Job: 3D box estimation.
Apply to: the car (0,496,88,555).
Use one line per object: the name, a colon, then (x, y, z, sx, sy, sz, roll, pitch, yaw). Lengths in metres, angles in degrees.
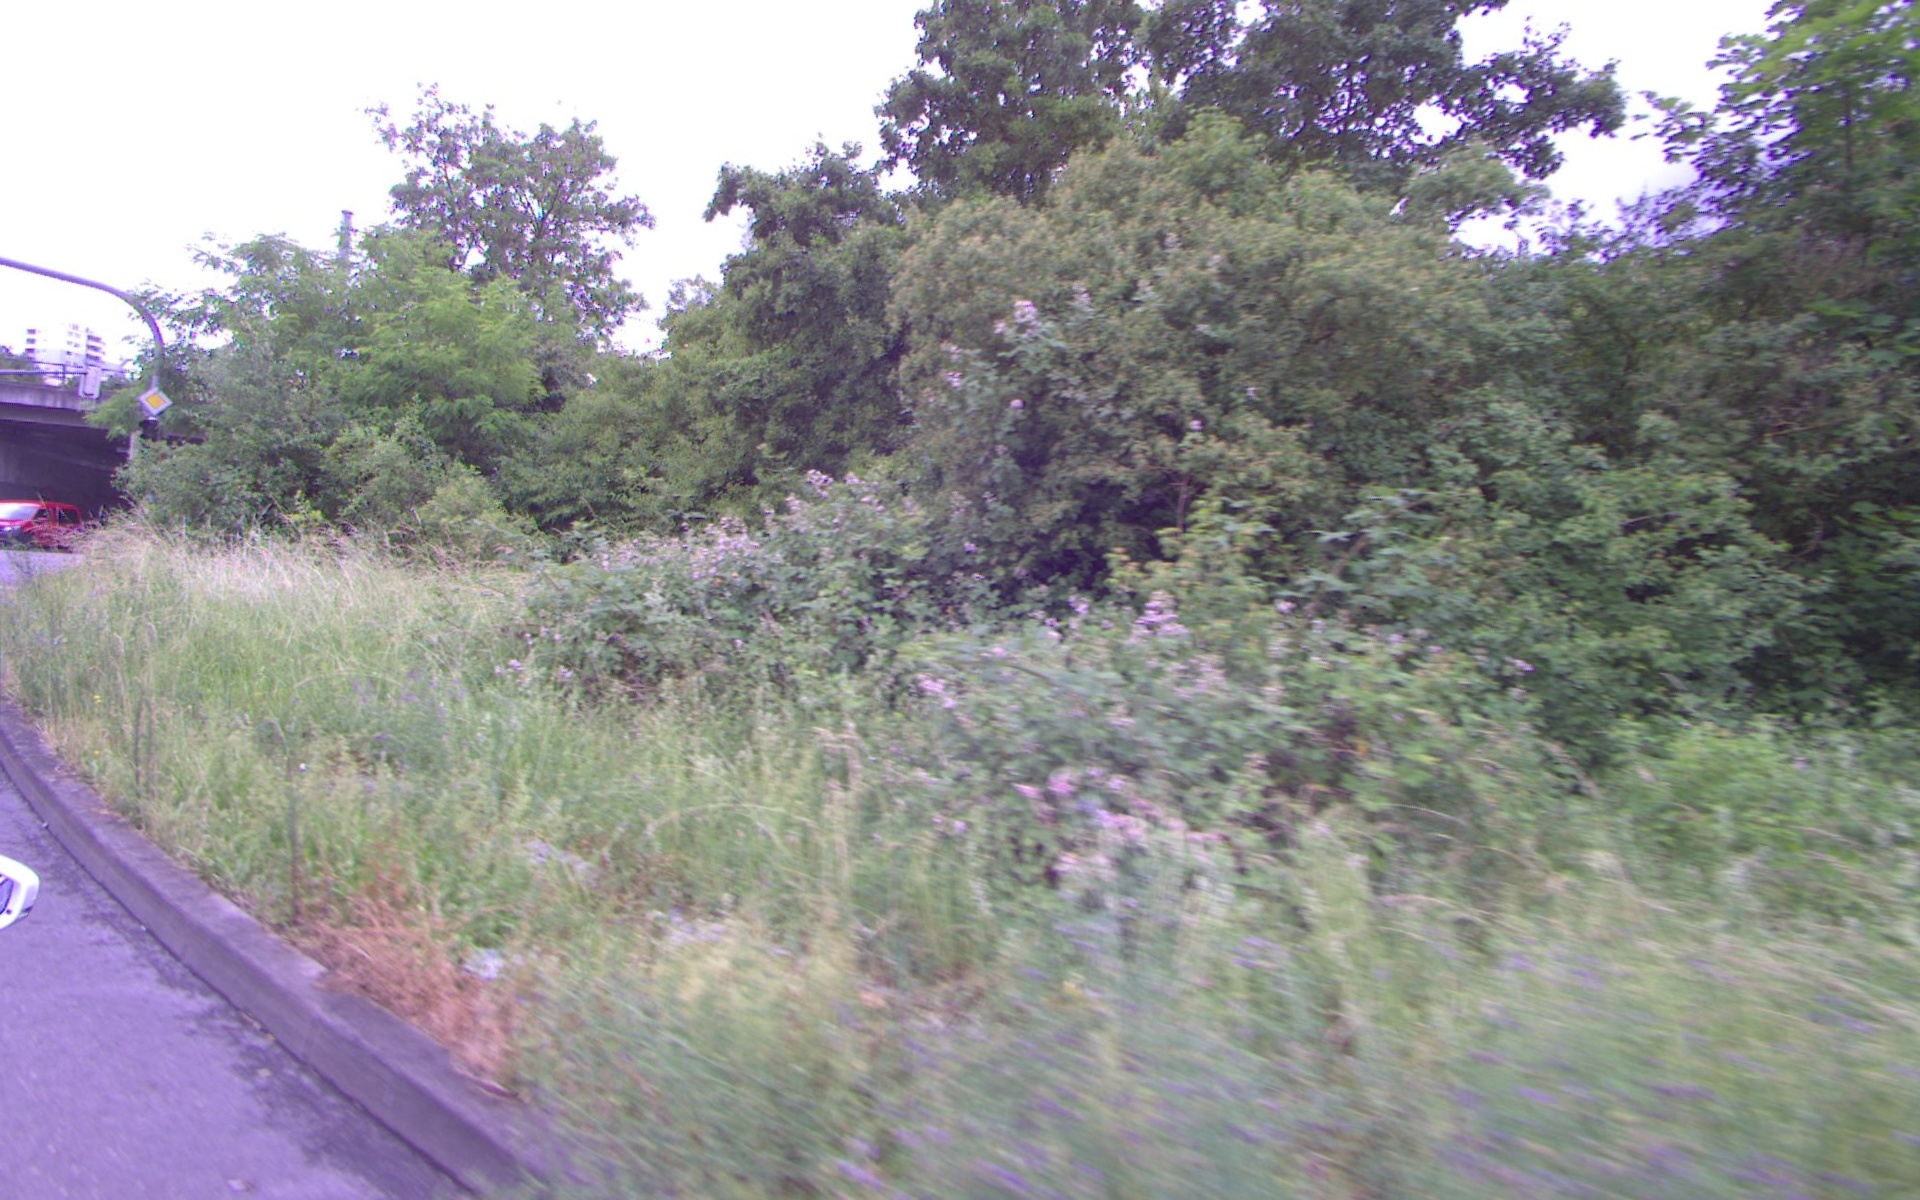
car: (-33.139, -2.641, 35.647, 1.668, 1.849, 4.705, 5, 0, -20)

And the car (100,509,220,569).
car: (-25.916, -1.921, 32.743, 1.882, 1.483, 3.980, 9, -3, -23)
